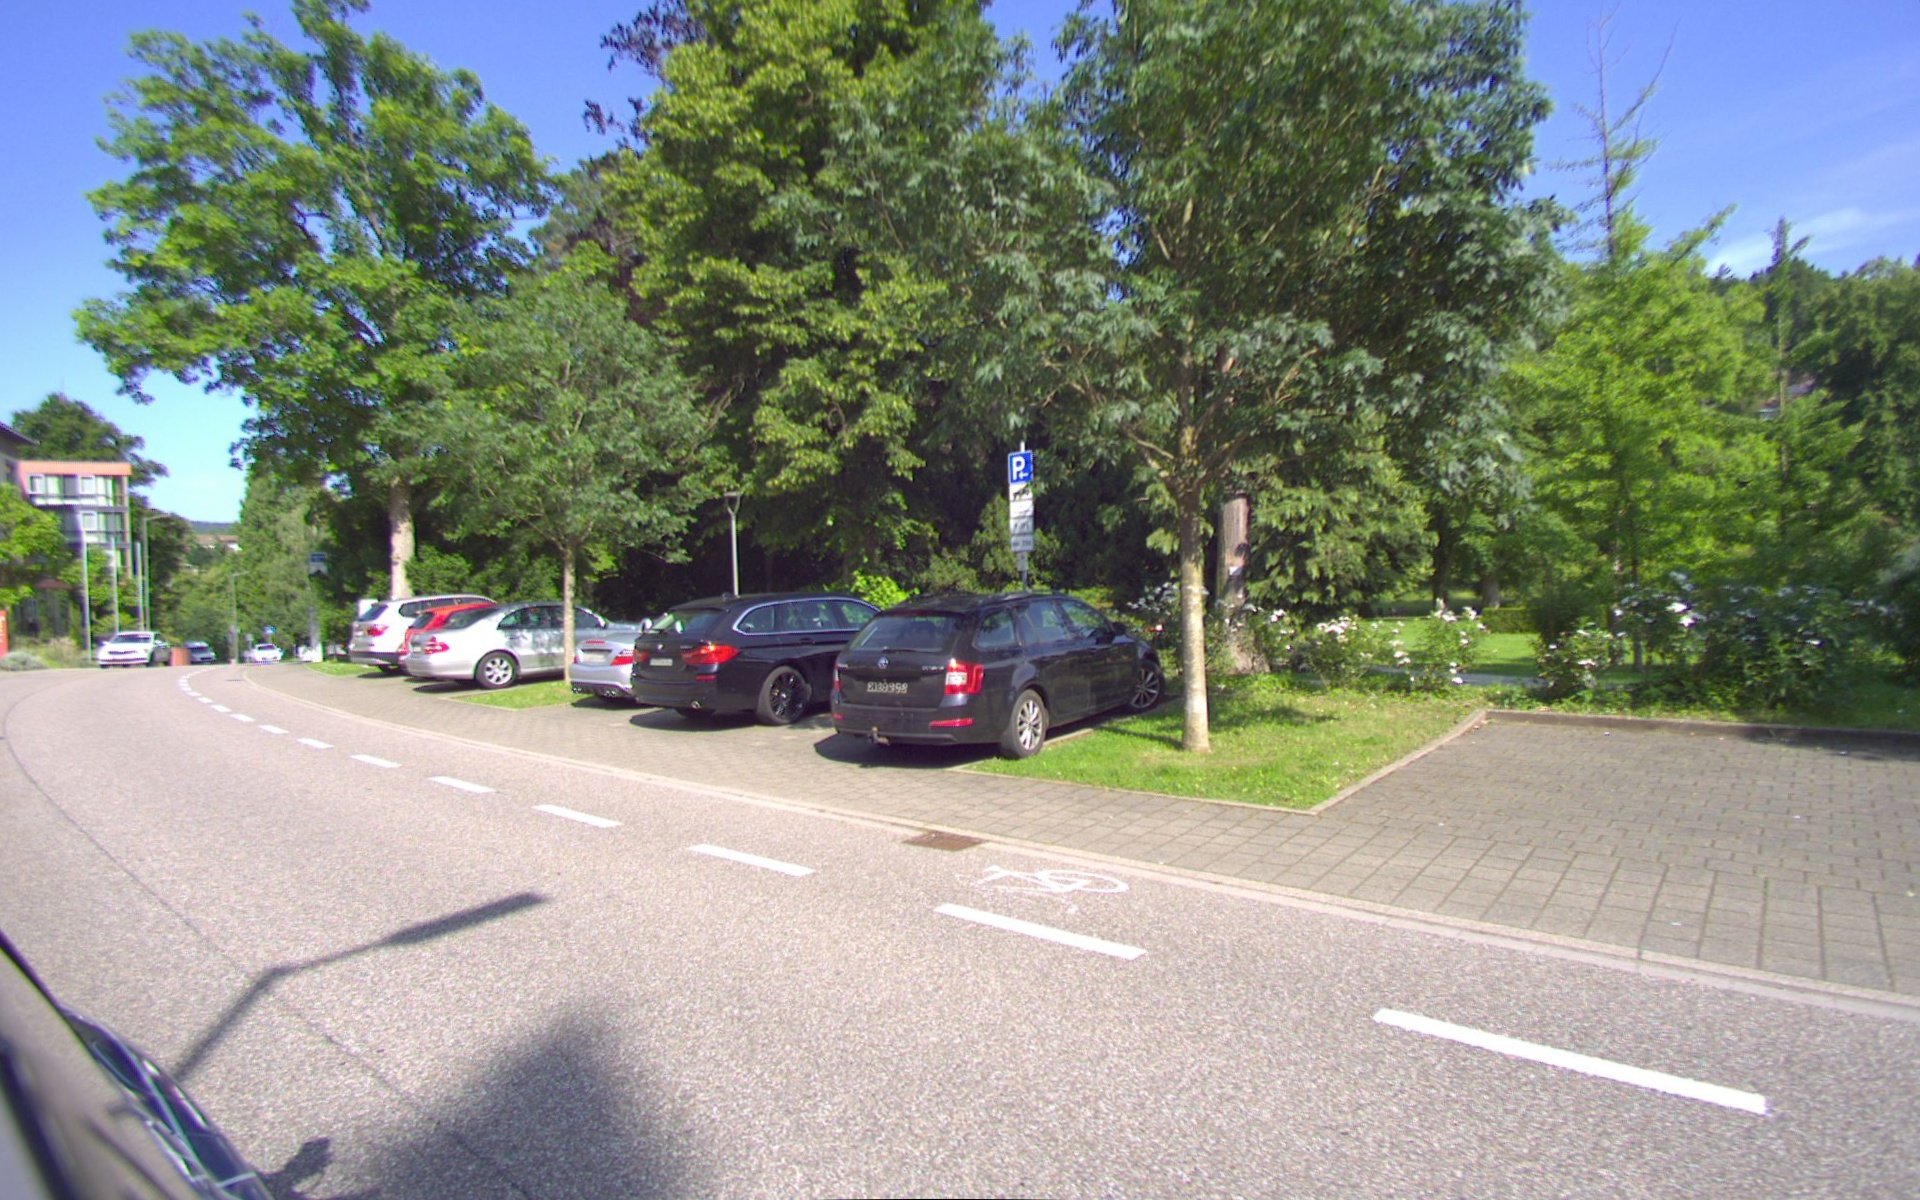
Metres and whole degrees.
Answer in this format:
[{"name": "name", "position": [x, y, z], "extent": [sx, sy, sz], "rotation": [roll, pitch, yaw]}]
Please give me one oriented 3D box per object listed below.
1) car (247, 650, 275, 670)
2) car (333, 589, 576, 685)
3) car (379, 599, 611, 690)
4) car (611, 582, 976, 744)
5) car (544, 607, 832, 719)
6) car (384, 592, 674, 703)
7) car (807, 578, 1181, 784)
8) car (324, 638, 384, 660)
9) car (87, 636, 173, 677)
[{"name": "car", "position": [-56.494, 4.830, 81.745], "extent": [1.713, 1.408, 4.009], "rotation": [-1, 0, -37]}, {"name": "car", "position": [-11.152, 0.732, 22.580], "extent": [1.810, 1.675, 4.435], "rotation": [-1, 3, 43]}, {"name": "car", "position": [-9.486, 0.835, 20.814], "extent": [3.941, 1.443, 1.721], "rotation": [-5, 3, -43]}, {"name": "car", "position": [-1.881, 0.641, 12.721], "extent": [1.711, 1.521, 4.449], "rotation": [-2, 2, 40]}, {"name": "car", "position": [-3.883, 0.825, 14.906], "extent": [1.761, 1.252, 3.756], "rotation": [-1, 1, 40]}, {"name": "car", "position": [-7.717, 0.759, 18.383], "extent": [4.429, 1.428, 1.813], "rotation": [-7, 4, -41]}, {"name": "car", "position": [0.581, 0.618, 10.114], "extent": [1.708, 1.442, 4.241], "rotation": [-2, 2, 34]}, {"name": "car", "position": [-46.820, 3.765, 78.265], "extent": [1.502, 1.408, 3.981], "rotation": [-5, -1, 14]}, {"name": "car", "position": [-33.539, 2.258, 41.014], "extent": [1.711, 1.508, 3.942], "rotation": [-1, -2, -24]}]
